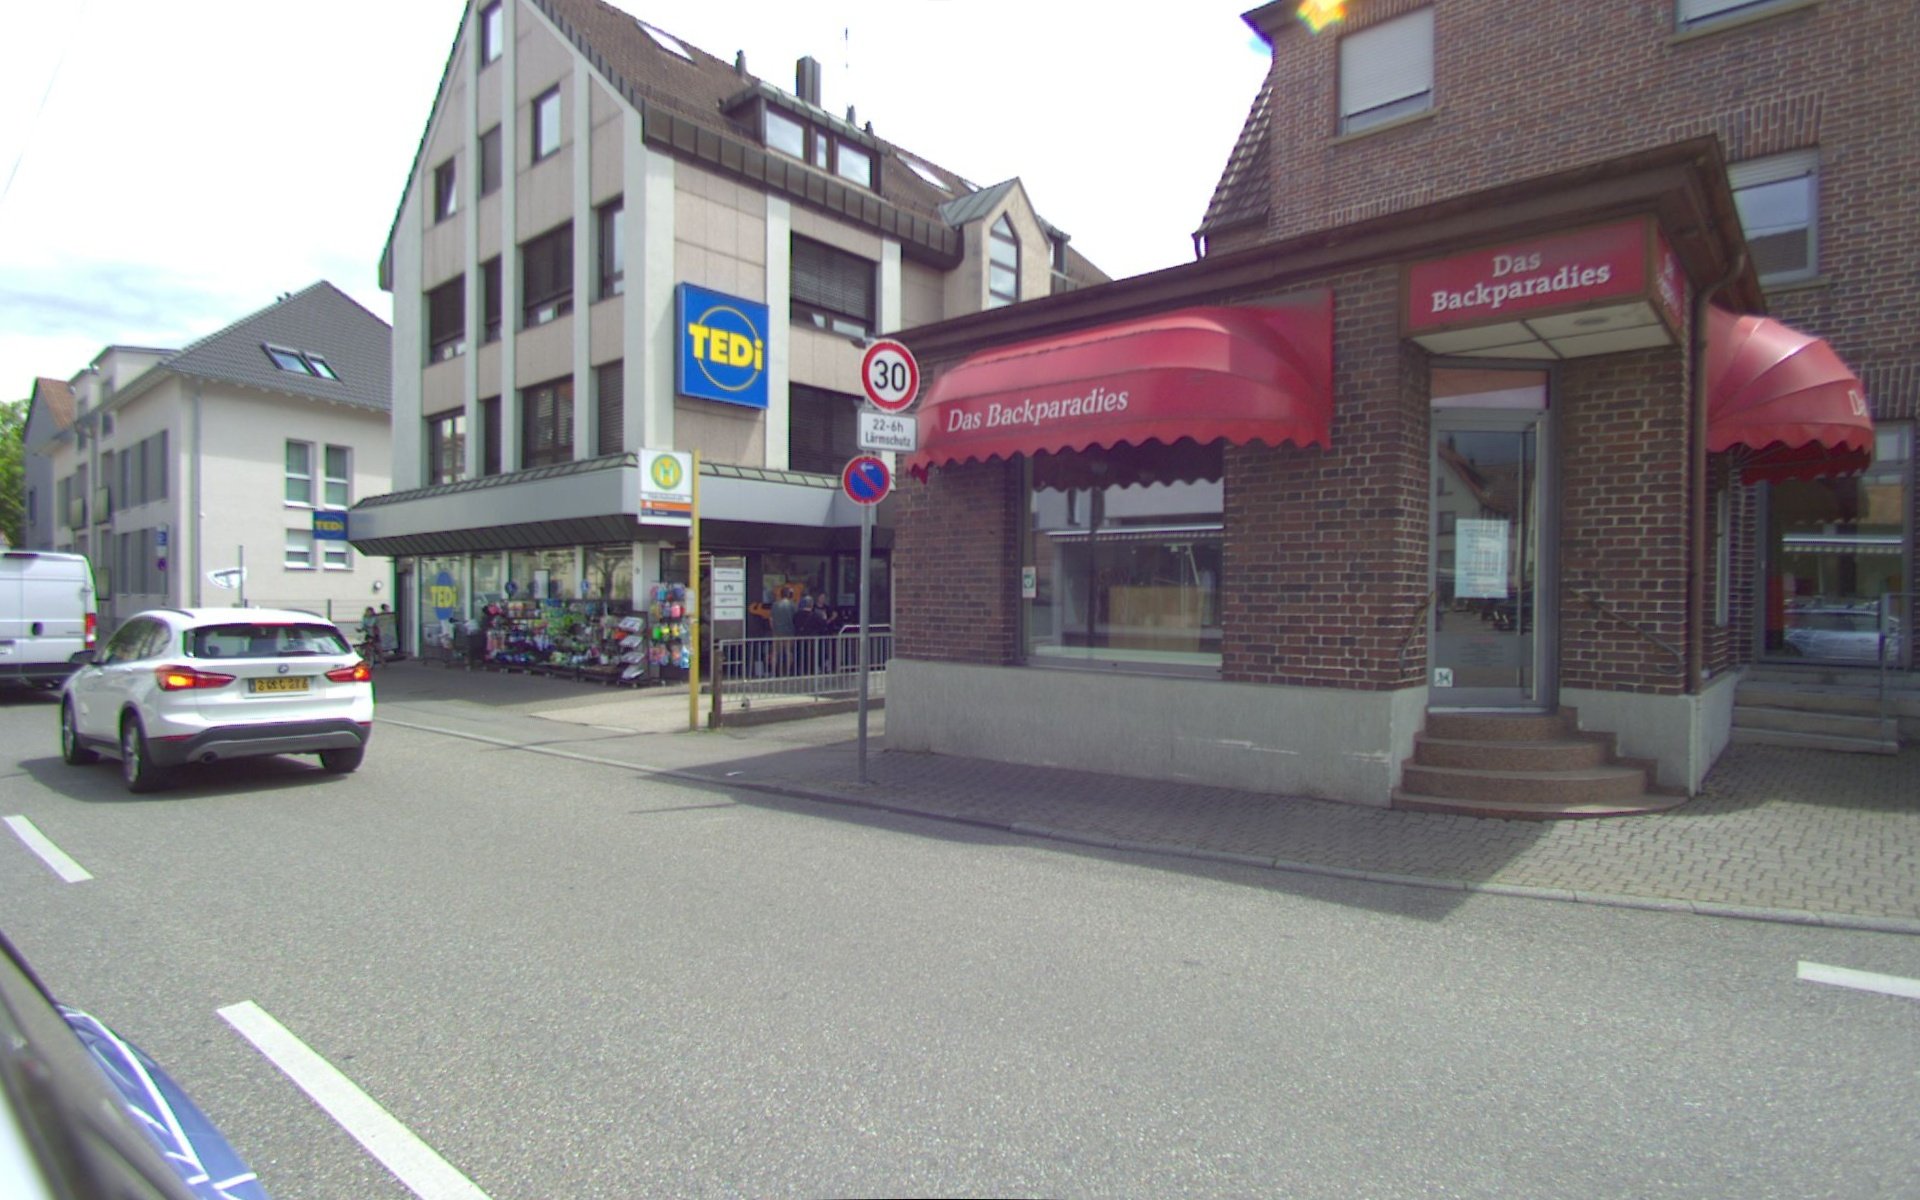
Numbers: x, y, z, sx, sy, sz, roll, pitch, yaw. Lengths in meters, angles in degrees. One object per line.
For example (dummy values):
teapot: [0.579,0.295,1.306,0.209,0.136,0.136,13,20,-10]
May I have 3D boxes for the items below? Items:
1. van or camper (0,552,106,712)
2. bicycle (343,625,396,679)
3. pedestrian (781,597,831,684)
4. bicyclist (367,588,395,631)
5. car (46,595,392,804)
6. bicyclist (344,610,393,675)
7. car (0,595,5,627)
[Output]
van or camper: [-17.396,0.574,18.233,5.433,2.576,2.127,-1,-2,40]
bicycle: [-12.908,1.120,22.100,1.733,1.057,0.439,1,4,41]
pedestrian: [-2.899,0.750,19.048,0.772,1.570,0.566,2,2,40]
bicyclist: [-16.851,0.274,29.450,0.631,1.251,0.428,0,1,-16]
car: [-7.453,0.823,10.030,4.216,1.652,1.762,0,-2,40]
bicyclist: [-12.947,0.920,22.153,0.761,1.347,0.660,1,4,41]
car: [-41.655,0.471,42.723,3.472,1.340,1.644,-1,-1,41]
